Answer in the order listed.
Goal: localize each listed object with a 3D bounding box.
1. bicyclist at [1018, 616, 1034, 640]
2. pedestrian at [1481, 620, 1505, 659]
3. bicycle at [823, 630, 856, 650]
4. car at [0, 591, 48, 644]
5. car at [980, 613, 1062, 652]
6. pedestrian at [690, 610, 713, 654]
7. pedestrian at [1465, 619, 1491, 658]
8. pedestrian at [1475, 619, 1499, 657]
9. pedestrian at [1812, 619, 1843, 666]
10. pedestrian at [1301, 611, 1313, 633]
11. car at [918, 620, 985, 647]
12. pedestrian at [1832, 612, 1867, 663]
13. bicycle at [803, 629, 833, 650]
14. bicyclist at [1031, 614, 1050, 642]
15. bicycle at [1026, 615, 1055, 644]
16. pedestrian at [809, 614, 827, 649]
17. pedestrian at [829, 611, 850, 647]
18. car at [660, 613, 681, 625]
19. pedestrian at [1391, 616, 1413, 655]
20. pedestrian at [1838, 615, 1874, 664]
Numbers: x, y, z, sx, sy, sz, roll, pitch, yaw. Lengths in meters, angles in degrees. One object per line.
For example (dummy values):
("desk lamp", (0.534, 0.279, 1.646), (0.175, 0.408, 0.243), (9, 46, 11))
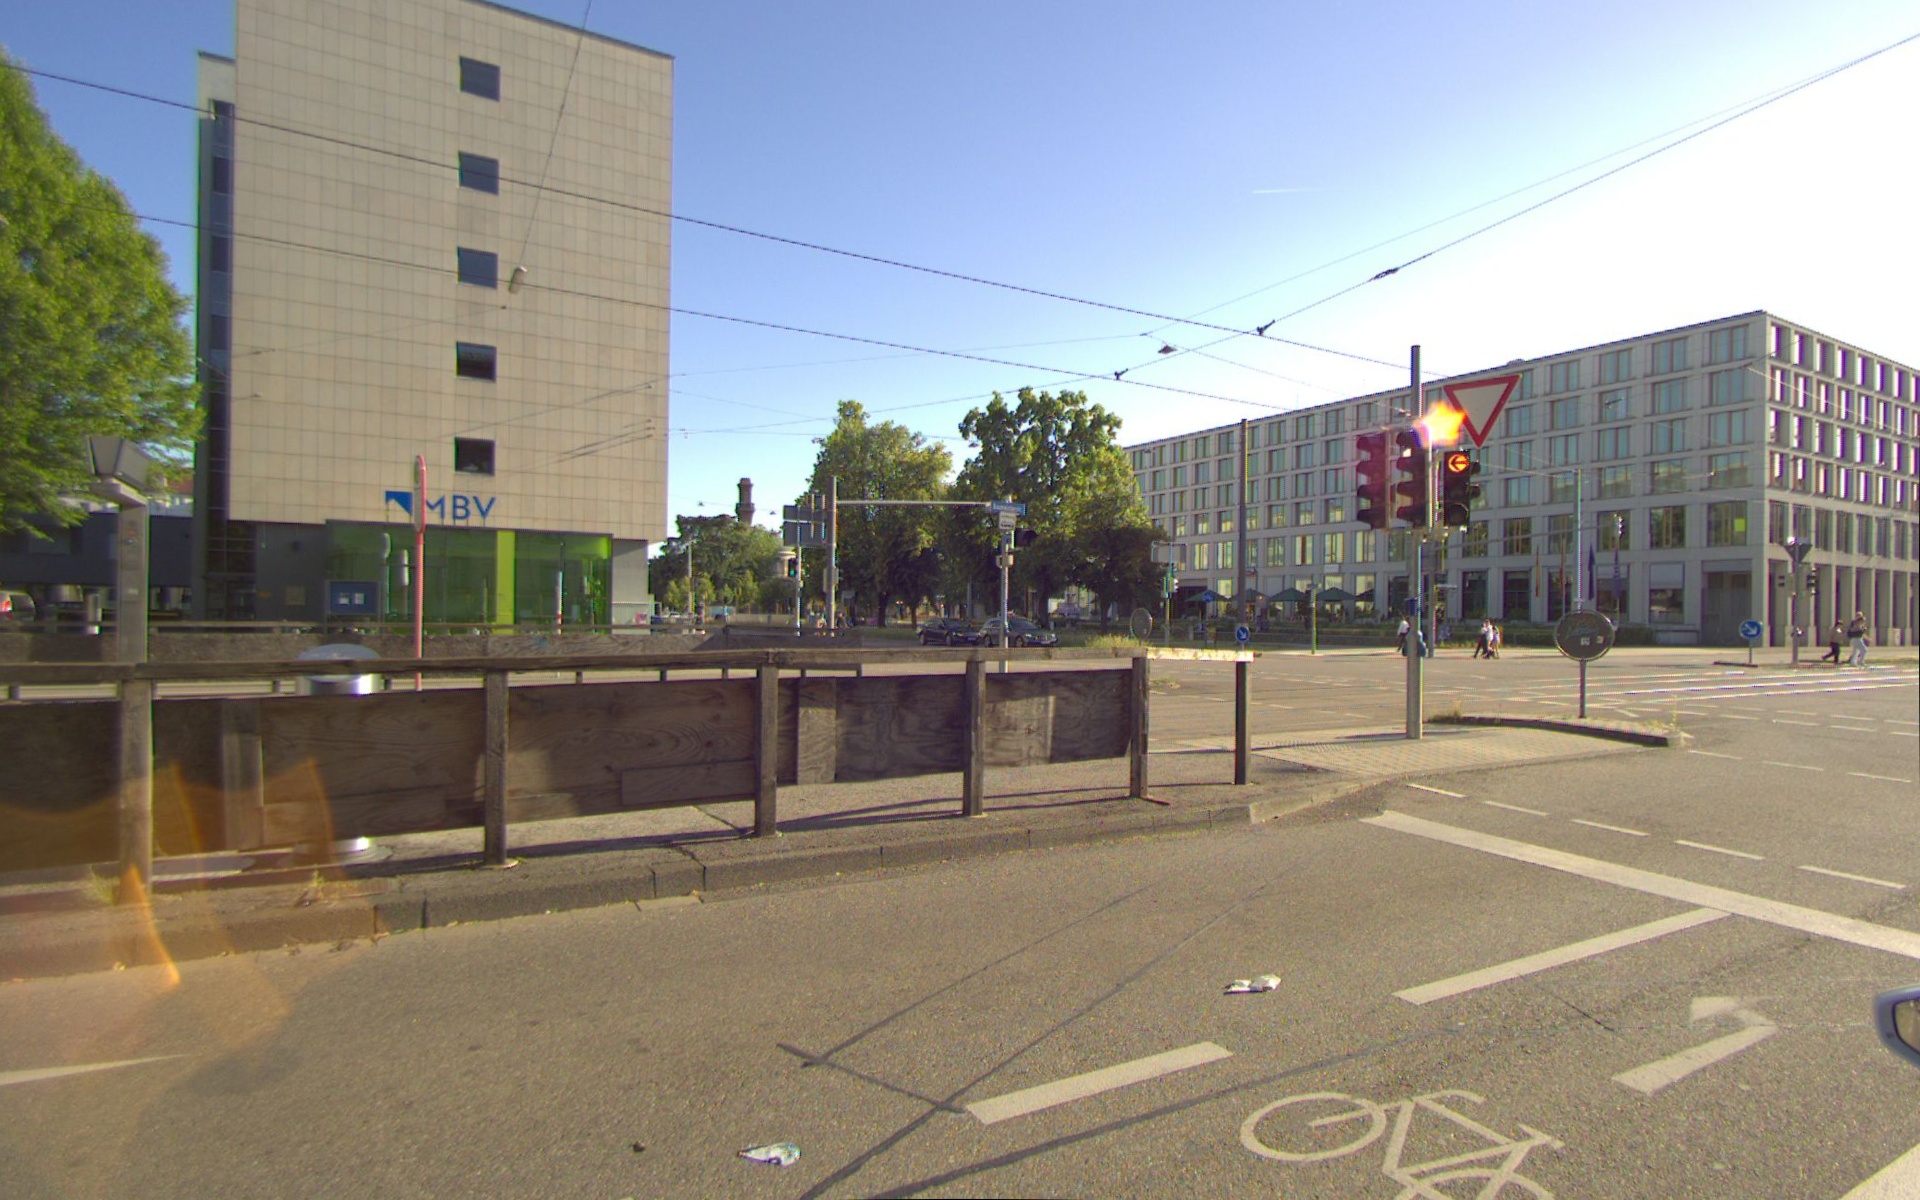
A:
("bicyclist", (4.209, 1.789, 64.258), (0.568, 1.581, 0.969), (1, -1, -33))
("pedestrian", (25.279, 1.862, 47.606), (0.525, 1.827, 0.867), (1, -1, -24))
("bicycle", (-6.082, 1.991, 50.613), (0.818, 0.973, 2.132), (1, -1, -31))
("car", (-27.761, 0.442, 27.789), (3.371, 1.431, 1.562), (2, 0, -20))
("car", (2.852, 1.520, 47.818), (1.829, 1.602, 4.496), (1, 1, -28))
("pedestrian", (-10.360, 1.288, 40.295), (0.814, 1.739, 0.757), (1, -1, -18))
("pedestrian", (24.520, 1.829, 47.560), (0.654, 1.827, 0.868), (1, -1, -24))
("pedestrian", (25.486, 1.827, 48.591), (0.706, 1.827, 0.737), (1, -1, -24))
("pedestrian", (31.291, 1.512, 36.225), (0.614, 1.666, 0.691), (1, -1, -29))
("pedestrian", (26.440, 1.675, 76.540), (0.556, 1.691, 0.537), (2, 0, -33))
("car", (-0.479, 1.759, 53.440), (1.755, 1.311, 4.209), (1, -1, -30))
("pedestrian", (32.078, 1.350, 36.245), (0.668, 1.784, 0.746), (2, -2, -25))
("bicycle", (-7.070, 1.949, 50.015), (0.669, 0.973, 2.131), (1, -1, -32))
("bicyclist", (4.896, 1.714, 61.199), (0.592, 1.662, 1.065), (1, -1, -41))
("bicycle", (4.917, 1.804, 61.175), (0.592, 1.758, 1.880), (1, -1, -41))
("pedestrian", (-7.081, 1.561, 50.060), (0.666, 1.739, 0.754), (1, -1, -32))
("pedestrian", (-6.078, 1.458, 50.610), (0.818, 1.829, 0.754), (1, -1, -31))
("car", (-37.694, 2.479, 130.715), (1.614, 1.452, 4.021), (3, -2, -31))
("pedestrian", (22.382, 1.795, 50.899), (0.628, 1.943, 0.800), (1, -1, -24))
("pedestrian", (30.950, 1.368, 34.702), (0.615, 1.666, 0.787), (1, -1, -34))
